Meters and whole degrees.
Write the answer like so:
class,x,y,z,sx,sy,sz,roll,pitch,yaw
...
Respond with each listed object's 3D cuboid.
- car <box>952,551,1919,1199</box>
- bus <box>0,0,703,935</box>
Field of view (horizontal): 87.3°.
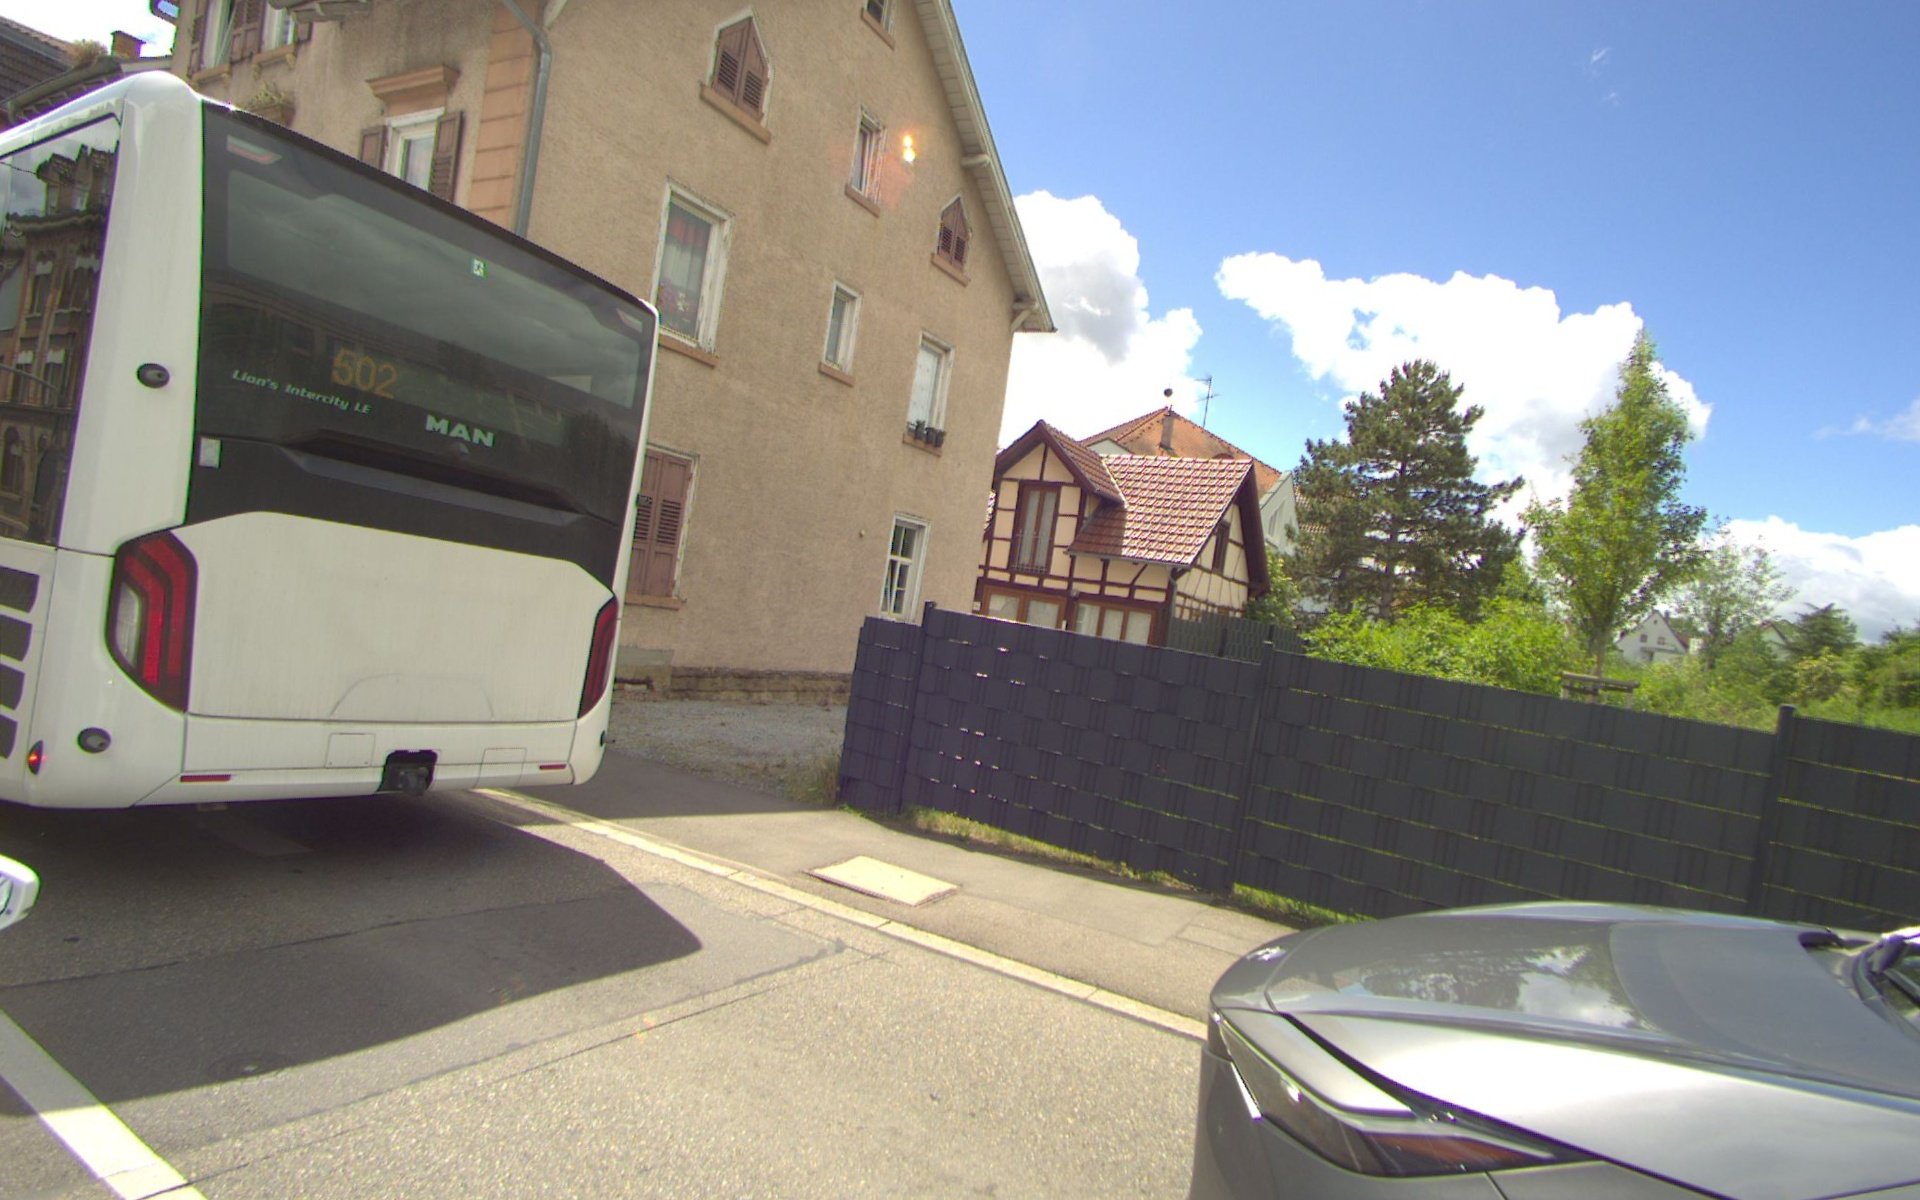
class,x,y,z,sx,sy,sz,roll,pitch,yaw
car,2.450,1.080,1.252,4.605,1.631,1.924,7,-2,32
bus,-7.471,-0.950,7.763,12.255,3.194,2.676,7,0,32
